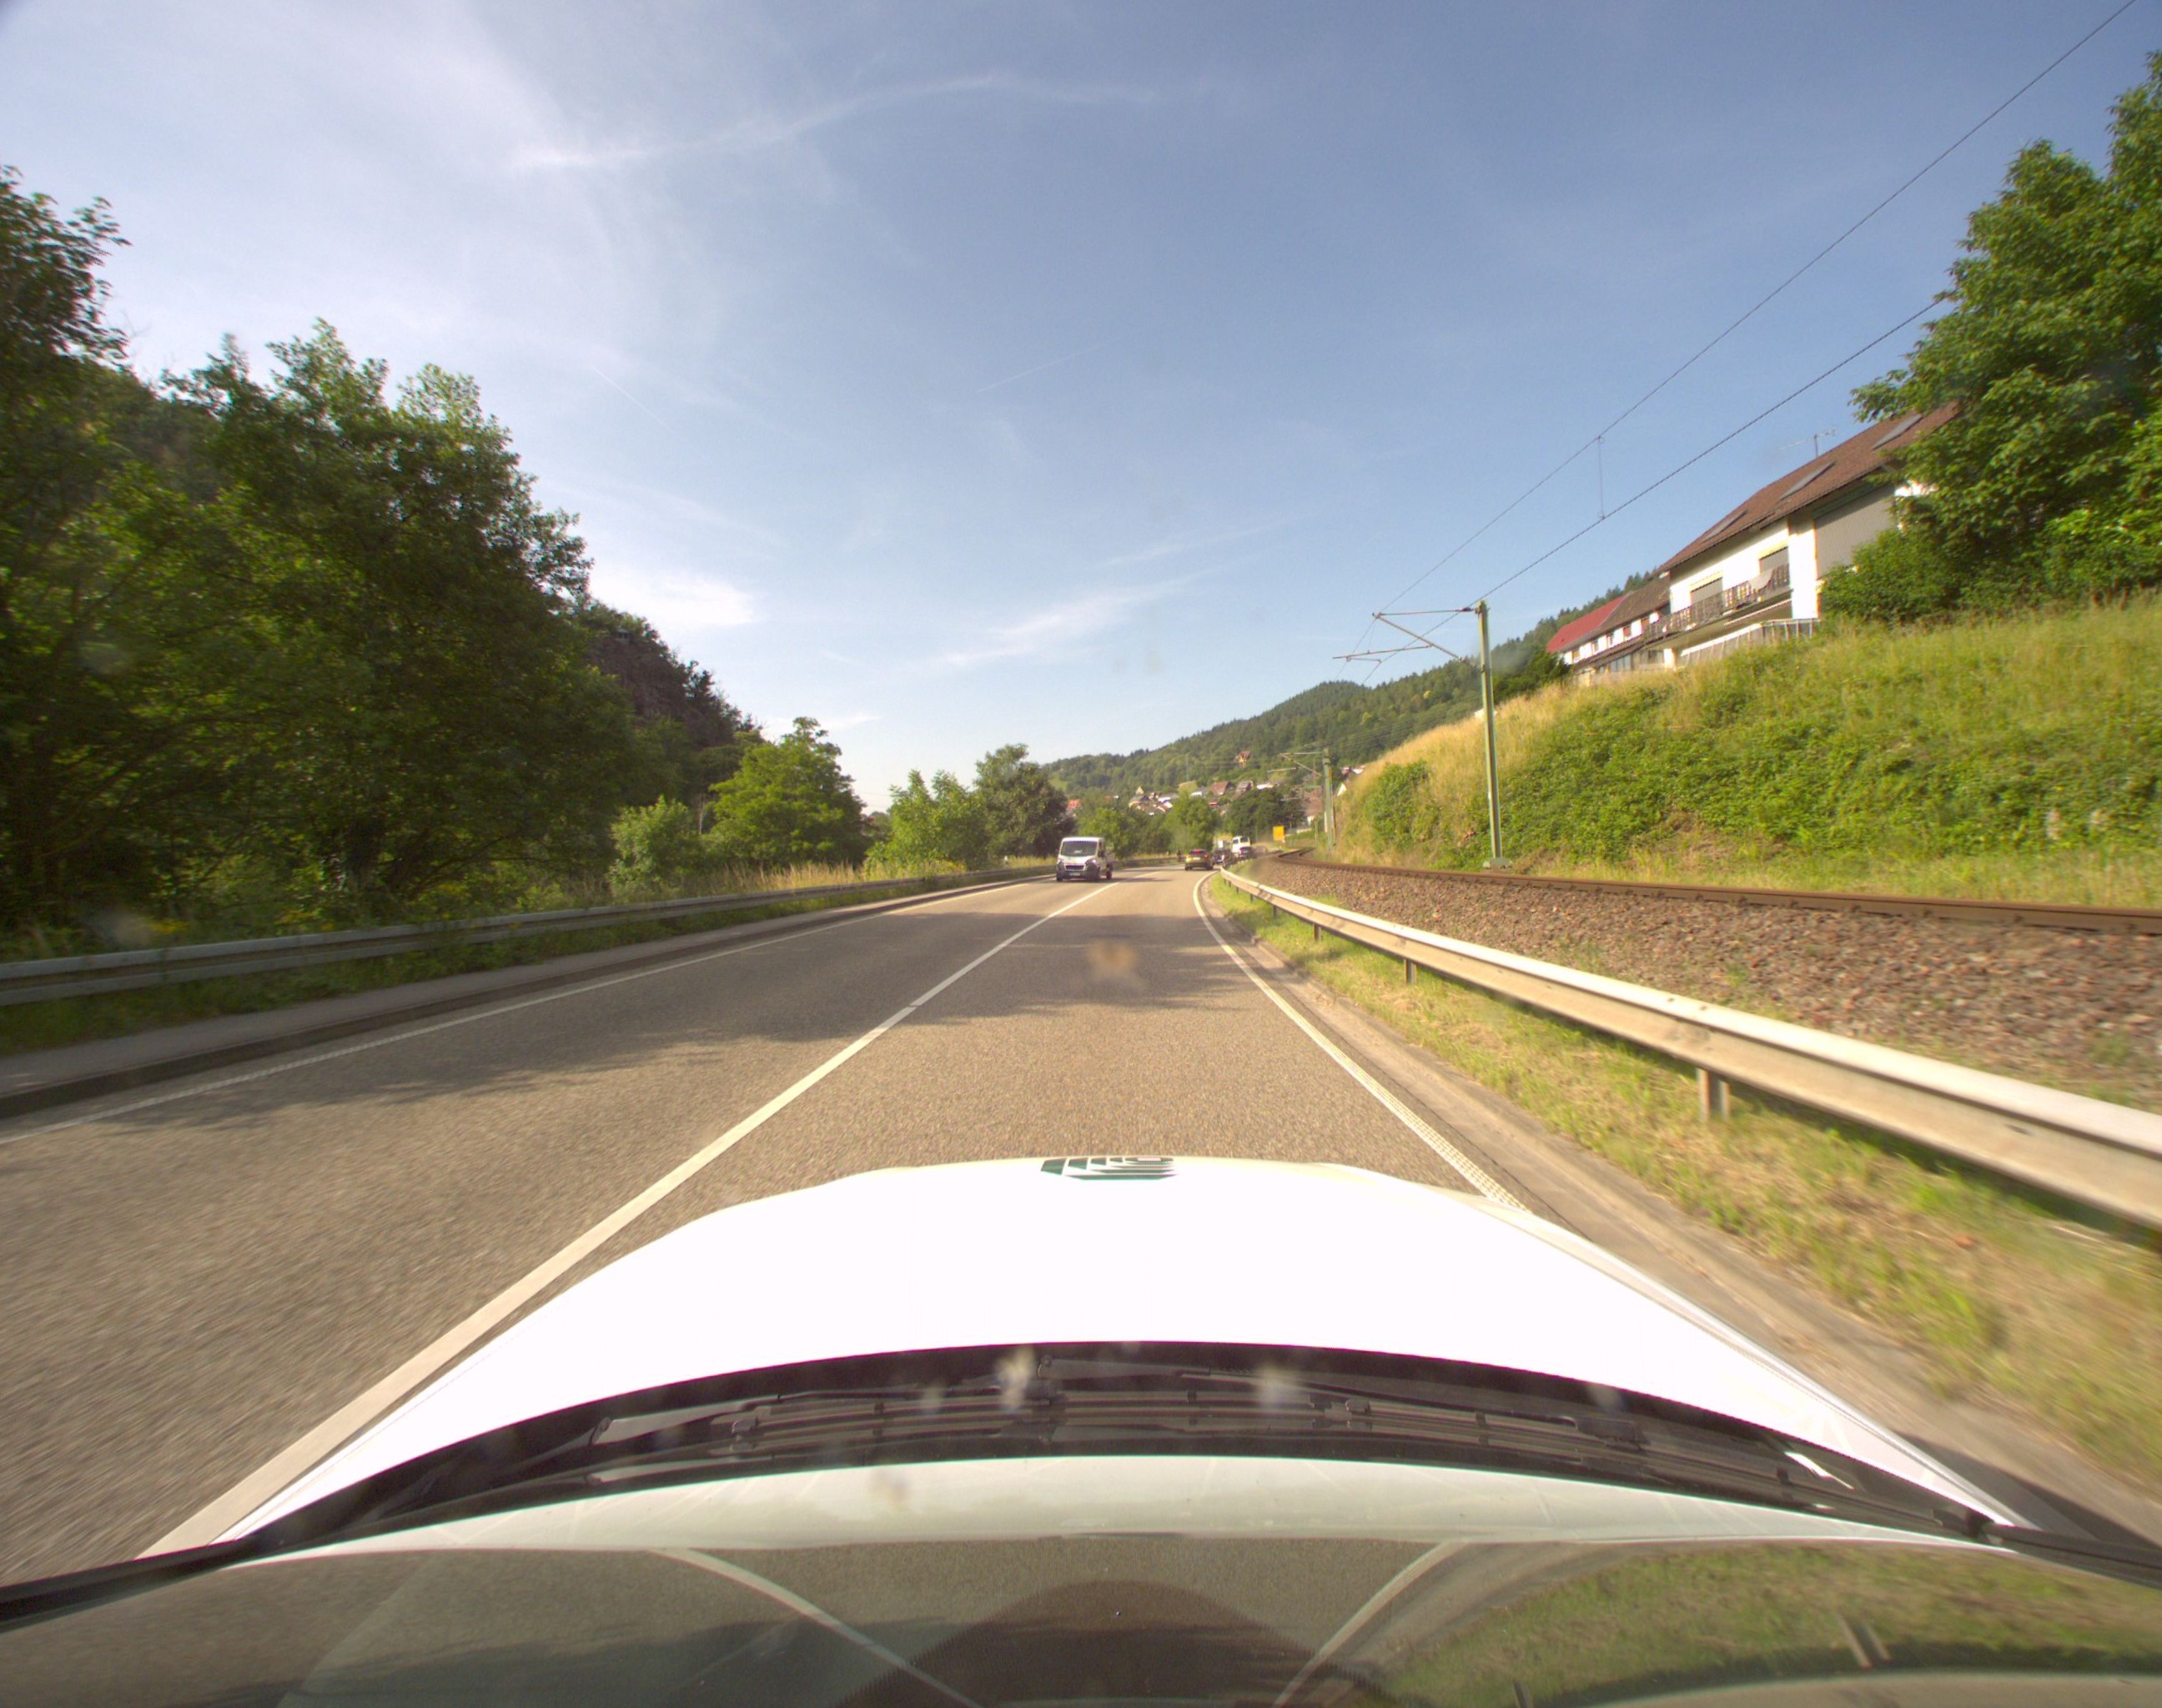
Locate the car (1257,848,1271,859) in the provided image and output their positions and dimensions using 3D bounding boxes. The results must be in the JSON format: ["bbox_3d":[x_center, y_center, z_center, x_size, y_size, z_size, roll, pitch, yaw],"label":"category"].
[{"bbox_3d":[27.762,-0.050,123.492,1.835,1.527,3.677,-2,0,14],"label":"car"}]

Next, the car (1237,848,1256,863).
[{"bbox_3d":[20.321,0.182,99.975,1.866,1.686,4.017,-1,0,16],"label":"car"}]

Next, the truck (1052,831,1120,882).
[{"bbox_3d":[0.381,0.107,41.271,2.143,2.366,6.767,0,0,12],"label":"truck"}]

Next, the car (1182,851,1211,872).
[{"bbox_3d":[8.252,0.521,57.854,1.703,1.455,4.014,0,0,12],"label":"car"}]

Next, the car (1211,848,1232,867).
[{"bbox_3d":[12.554,0.301,72.741,1.656,1.559,4.013,-1,0,12],"label":"car"}]

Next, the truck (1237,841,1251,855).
[{"bbox_3d":[37.203,-1.383,186.170,2.697,3.084,6.121,-1,0,7],"label":"truck"}]
